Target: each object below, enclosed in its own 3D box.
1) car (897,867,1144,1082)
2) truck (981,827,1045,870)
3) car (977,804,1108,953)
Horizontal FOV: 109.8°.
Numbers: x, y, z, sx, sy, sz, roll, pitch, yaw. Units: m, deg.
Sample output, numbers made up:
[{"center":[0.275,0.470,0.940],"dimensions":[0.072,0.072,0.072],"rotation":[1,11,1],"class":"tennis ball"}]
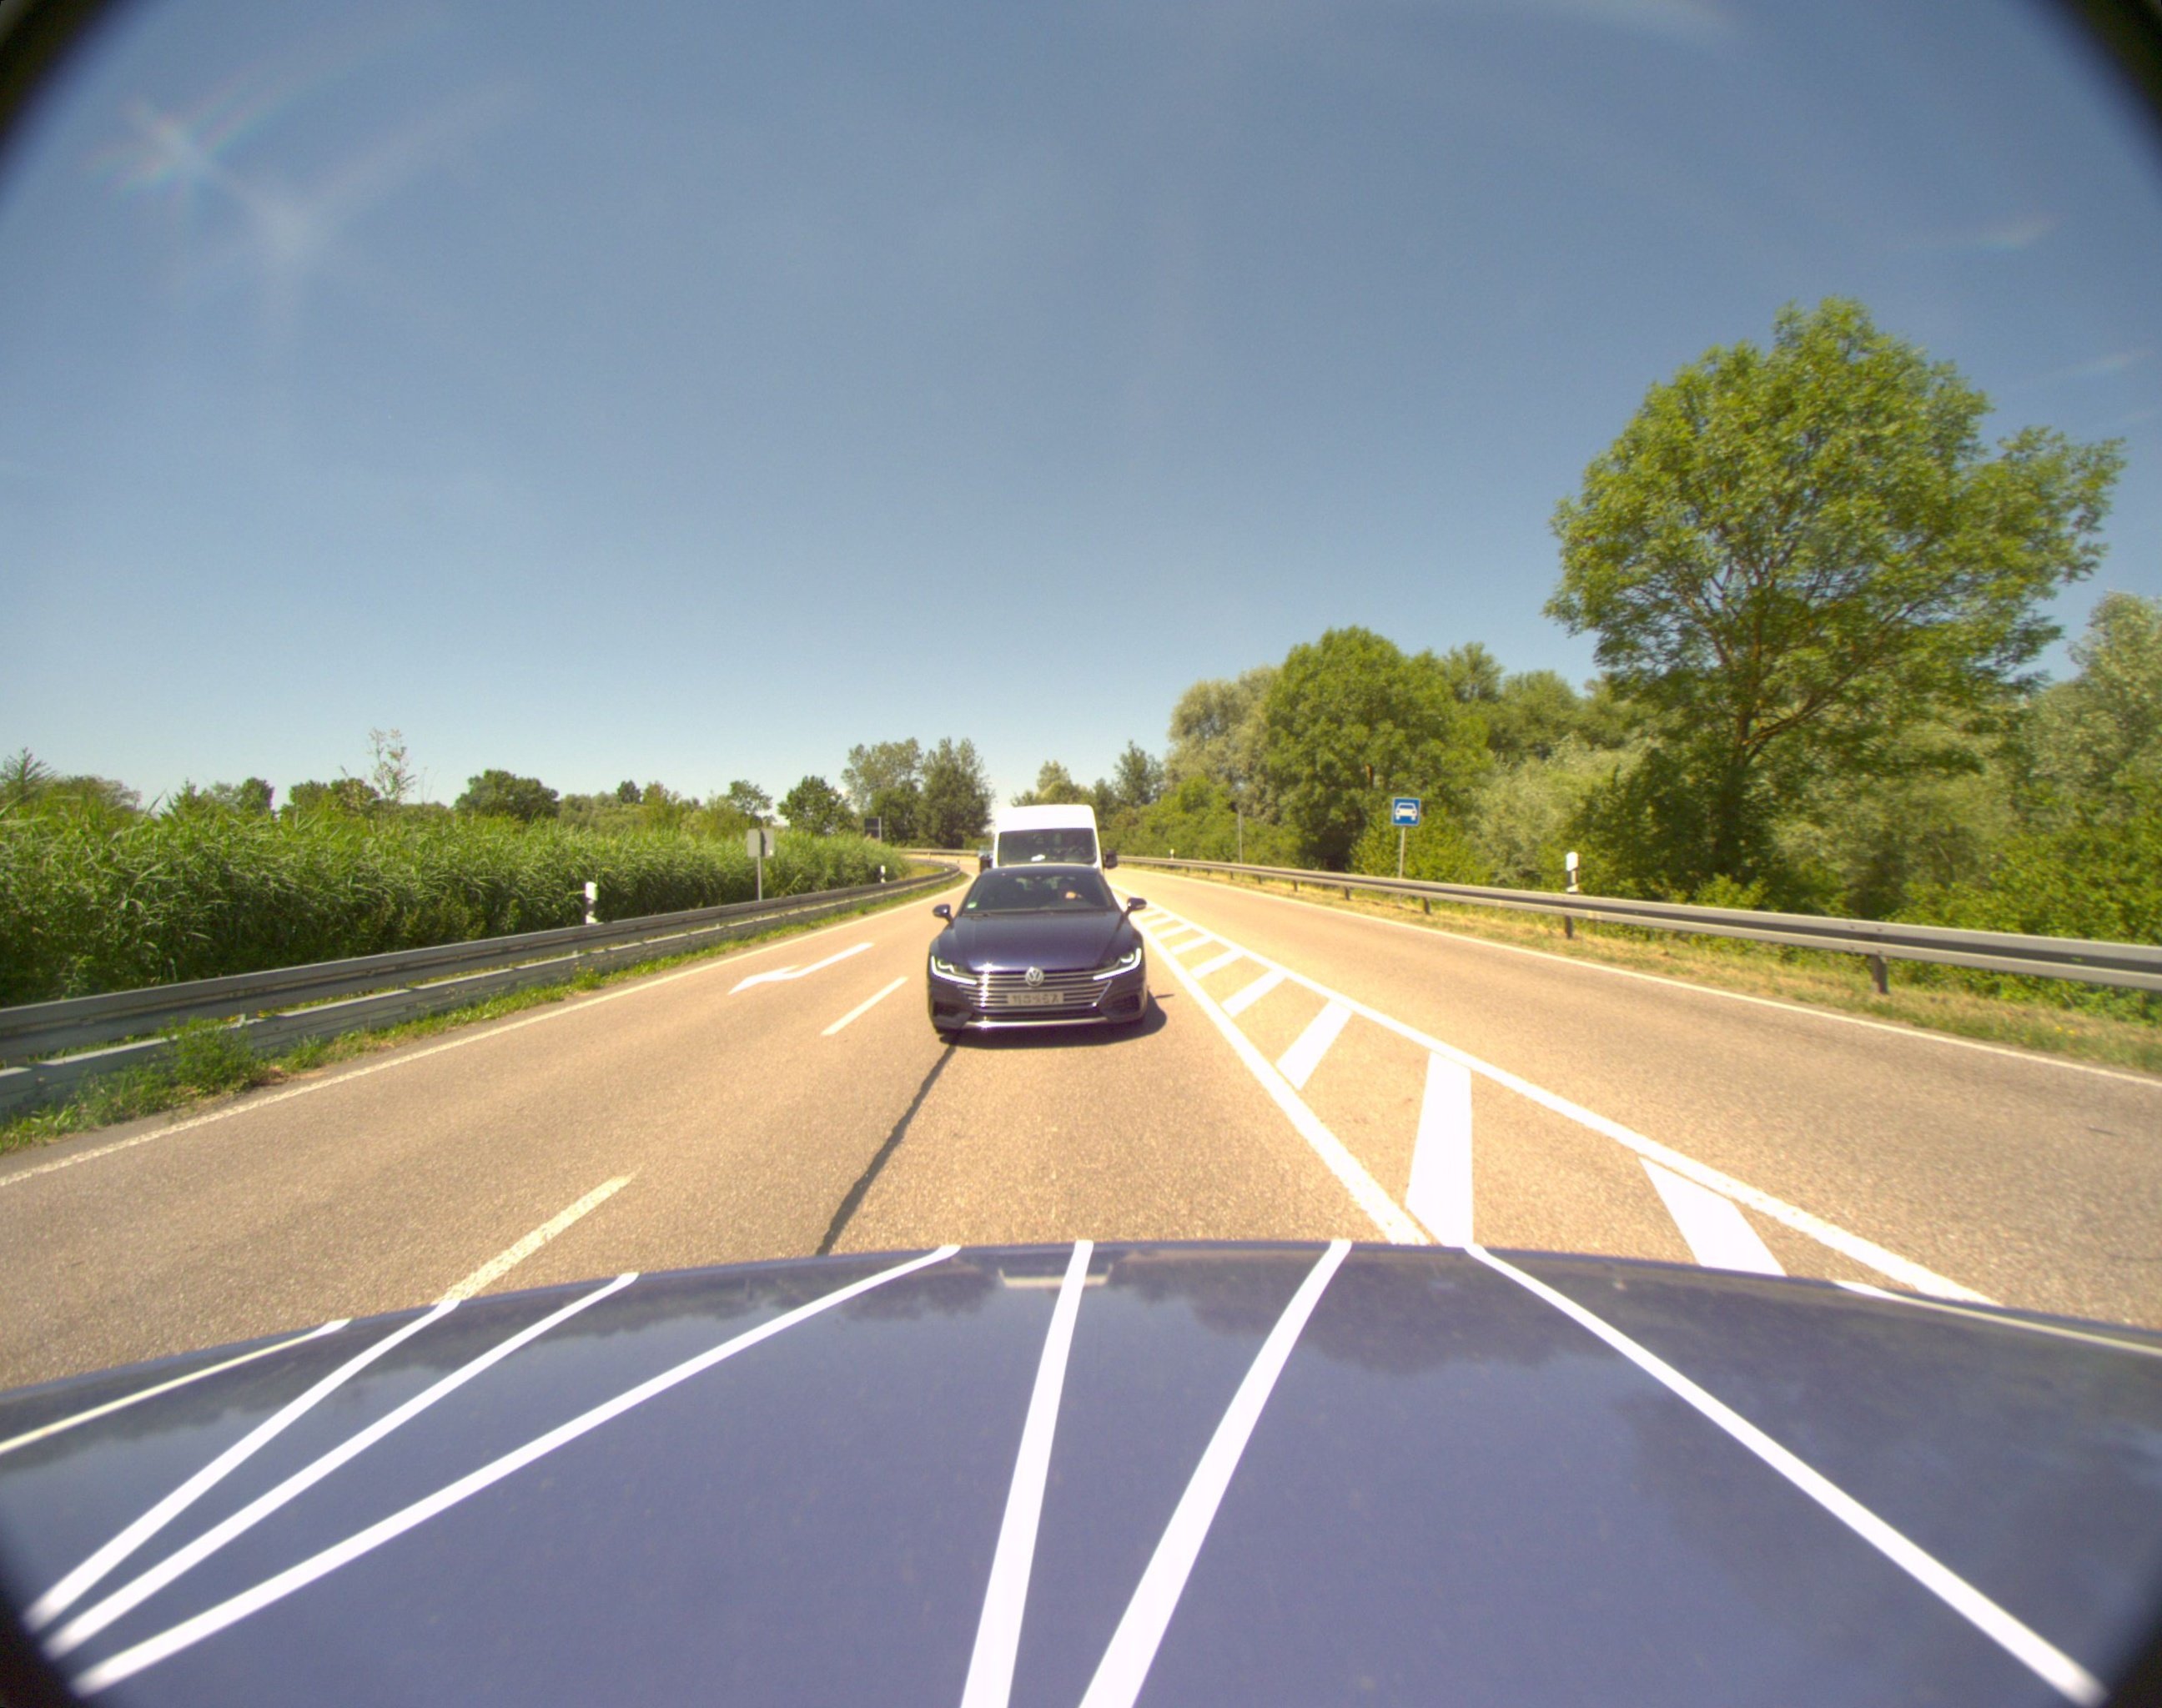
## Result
[{"center":[-0.438,0.923,7.574],"dimensions":[1.761,1.401,3.999],"rotation":[-2,1,0],"class":"car"},{"center":[-5.402,-0.372,58.501],"dimensions":[2.580,3.052,9.064],"rotation":[-2,0,-20],"class":"truck"},{"center":[-0.622,0.364,15.339],"dimensions":[2.059,2.376,5.825],"rotation":[-2,1,0],"class":"car"}]
